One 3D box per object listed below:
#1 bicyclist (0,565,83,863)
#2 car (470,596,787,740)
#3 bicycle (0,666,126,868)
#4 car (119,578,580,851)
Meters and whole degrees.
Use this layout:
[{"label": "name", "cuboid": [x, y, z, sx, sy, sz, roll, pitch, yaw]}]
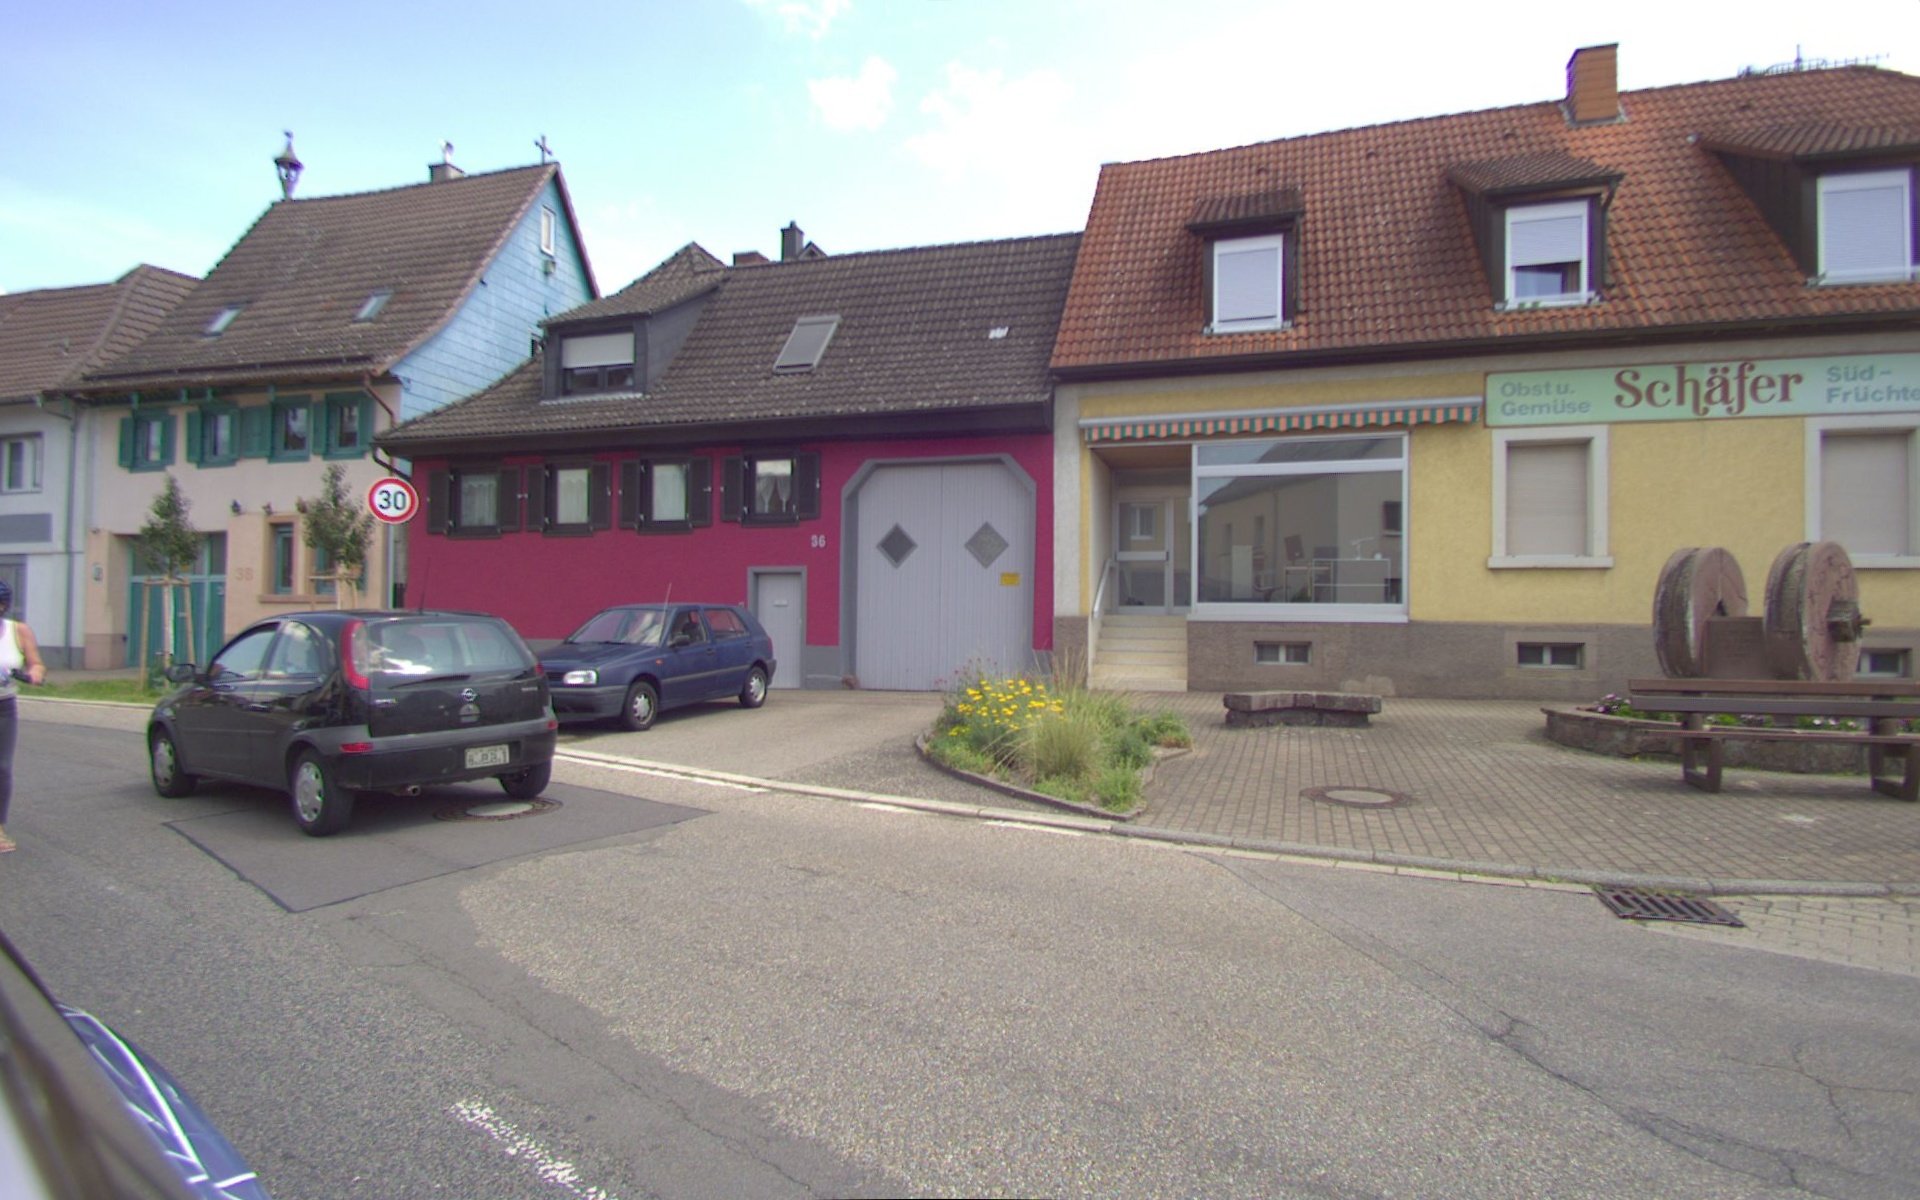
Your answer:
[{"label": "bicyclist", "cuboid": [-5.848, 0.644, 5.903, 0.758, 1.701, 0.901, 1, 0, 30]}, {"label": "car", "cuboid": [-3.870, 0.700, 12.574, 1.708, 1.475, 3.954, 0, 0, 20]}, {"label": "bicycle", "cuboid": [-5.866, 0.925, 5.898, 1.916, 1.019, 0.925, -1, -1, 29]}, {"label": "car", "cuboid": [-4.661, 0.635, 7.547, 3.847, 1.551, 1.487, 1, 1, 34]}]
